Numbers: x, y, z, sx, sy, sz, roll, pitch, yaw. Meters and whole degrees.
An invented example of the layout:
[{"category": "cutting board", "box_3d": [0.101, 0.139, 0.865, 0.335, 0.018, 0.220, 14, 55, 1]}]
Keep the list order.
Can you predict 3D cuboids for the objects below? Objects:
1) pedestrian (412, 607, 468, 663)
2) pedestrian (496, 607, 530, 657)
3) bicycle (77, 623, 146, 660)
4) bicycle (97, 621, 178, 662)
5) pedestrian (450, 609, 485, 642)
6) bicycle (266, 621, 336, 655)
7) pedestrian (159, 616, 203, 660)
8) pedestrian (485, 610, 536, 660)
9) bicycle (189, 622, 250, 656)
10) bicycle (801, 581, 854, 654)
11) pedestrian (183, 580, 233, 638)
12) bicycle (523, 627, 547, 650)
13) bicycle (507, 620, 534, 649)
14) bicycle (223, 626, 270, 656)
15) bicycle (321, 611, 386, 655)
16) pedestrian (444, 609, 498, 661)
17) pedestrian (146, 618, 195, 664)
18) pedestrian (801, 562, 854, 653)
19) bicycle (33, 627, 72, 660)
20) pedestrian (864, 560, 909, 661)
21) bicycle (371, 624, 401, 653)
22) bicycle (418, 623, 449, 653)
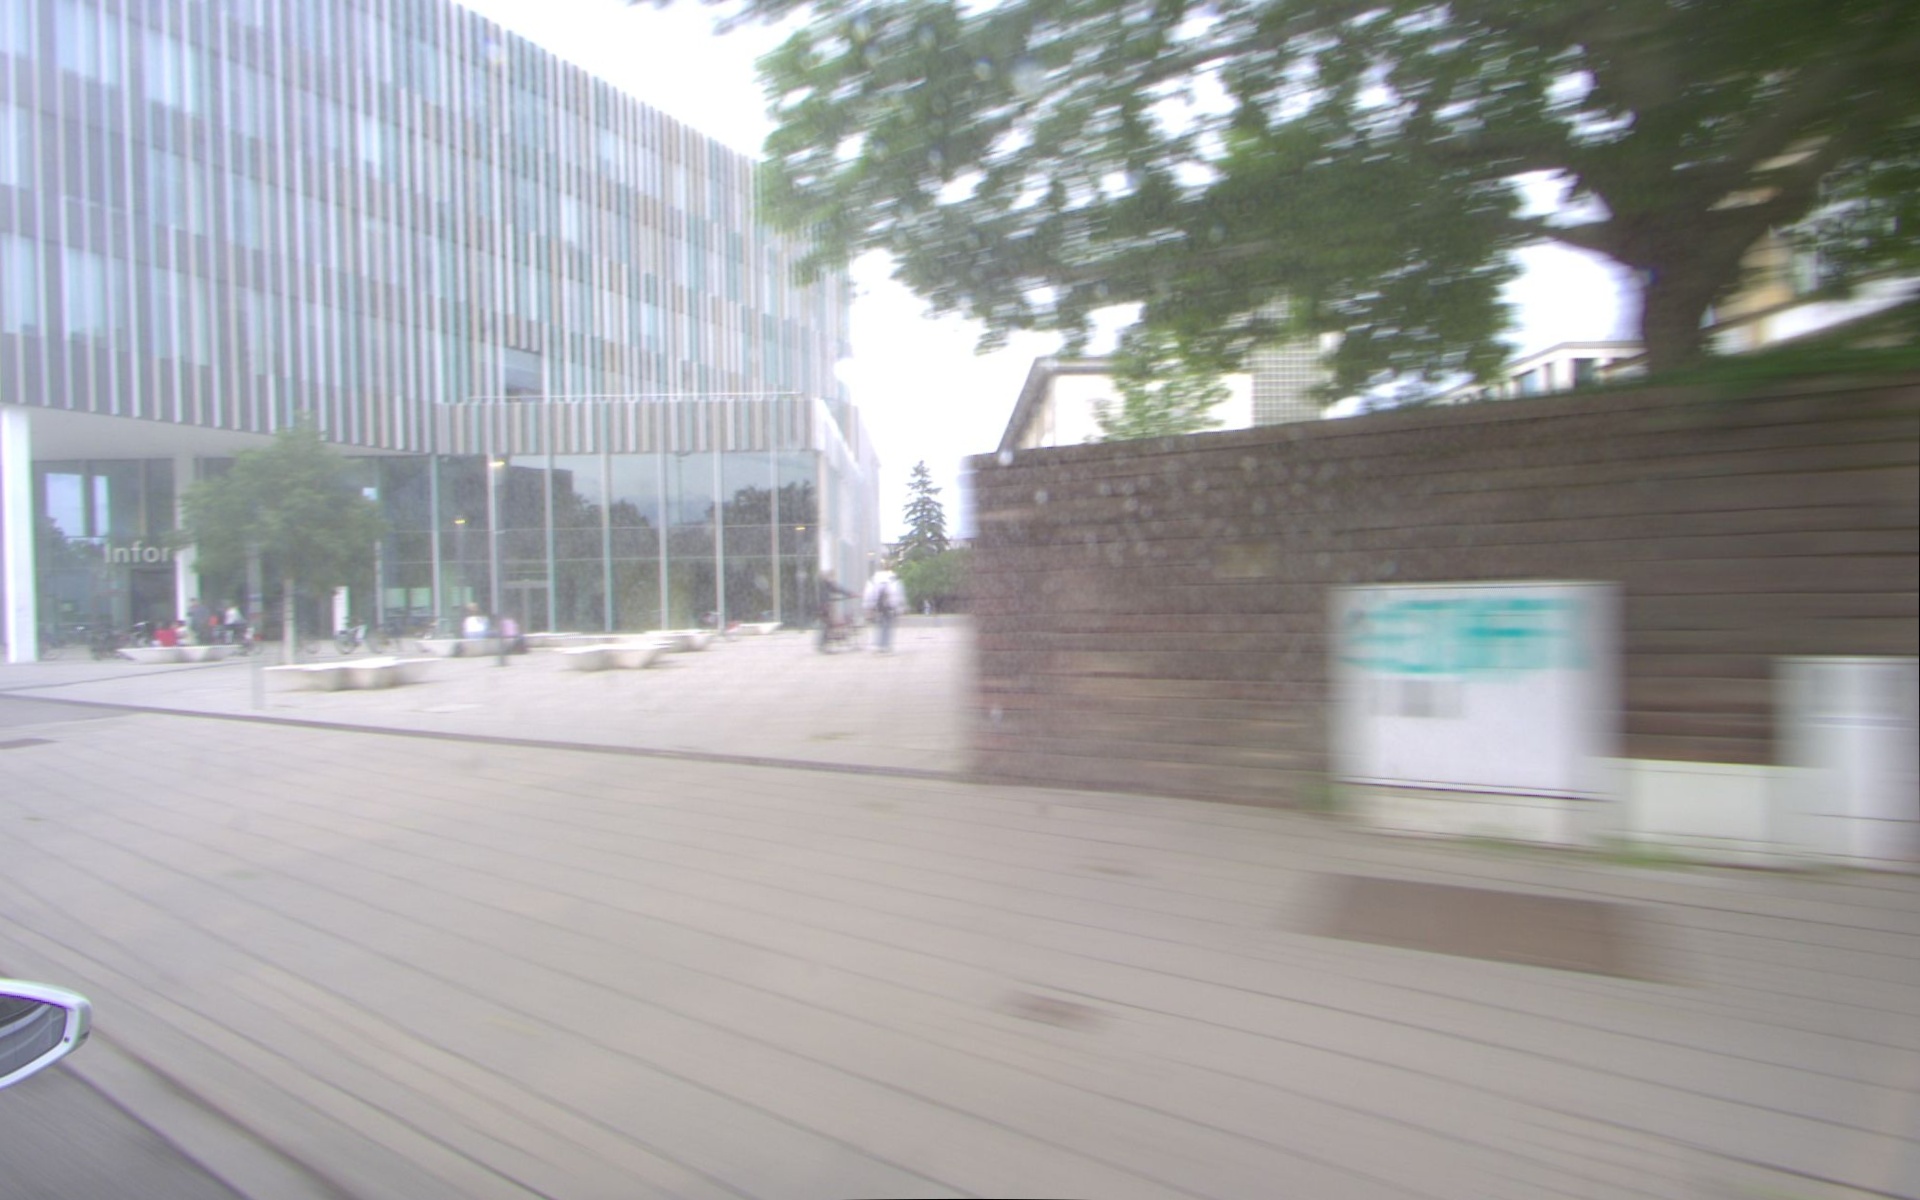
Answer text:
[{"category": "pedestrian", "box_3d": [-13.113, 0.879, 25.255, 0.864, 1.385, 0.910, 0, -1, 23]}, {"category": "pedestrian", "box_3d": [-11.795, 0.835, 26.408, 0.642, 1.295, 0.639, 1, -1, -44]}, {"category": "bicycle", "box_3d": [-28.024, 1.350, 33.119, 0.722, 1.130, 2.181, -1, 0, -10]}, {"category": "bicycle", "box_3d": [-26.719, 1.325, 32.601, 0.760, 1.204, 2.718, -1, 0, -9]}, {"category": "pedestrian", "box_3d": [-12.890, 0.675, 26.223, 0.629, 0.834, 0.727, -2, 1, -42]}, {"category": "bicycle", "box_3d": [-21.648, 1.241, 32.959, 0.766, 1.019, 2.191, -1, 0, 2]}, {"category": "pedestrian", "box_3d": [-22.046, 1.063, 28.345, 0.885, 1.209, 0.837, -2, 1, -44]}, {"category": "pedestrian", "box_3d": [-11.706, 0.903, 26.066, 0.867, 1.273, 0.906, -1, -1, 35]}, {"category": "bicycle", "box_3d": [-24.285, 1.272, 32.888, 0.760, 1.015, 1.958, -1, 0, -9]}, {"category": "bicycle", "box_3d": [-2.815, 0.361, 21.474, 0.592, 1.490, 1.646, -1, 1, 12]}, {"category": "pedestrian", "box_3d": [-27.512, 0.345, 36.651, 1.121, 2.089, 1.178, -1, -1, 36]}, {"category": "bicycle", "box_3d": [-14.407, 1.290, 33.960, 0.481, 0.701, 1.185, -1, 2, -12]}, {"category": "bicycle", "box_3d": [-14.818, 1.153, 33.775, 0.499, 0.911, 1.549, -1, 0, -12]}, {"category": "bicycle", "box_3d": [-23.506, 1.333, 33.014, 0.660, 0.911, 1.842, -1, 0, -16]}, {"category": "bicycle", "box_3d": [-19.990, 1.054, 33.060, 0.633, 1.324, 2.006, 0, 2, 11]}, {"category": "pedestrian", "box_3d": [-12.217, 0.872, 25.022, 0.867, 1.273, 0.906, -1, -1, 35]}, {"category": "pedestrian", "box_3d": [-21.785, 1.120, 27.648, 0.831, 1.222, 0.891, -1, 1, -24]}, {"category": "pedestrian", "box_3d": [-2.829, 0.158, 21.451, 0.873, 1.911, 0.737, -1, 1, 14]}, {"category": "bicycle", "box_3d": [-30.314, 1.443, 33.446, 1.817, 1.075, 0.636, -1, -1, 37]}, {"category": "pedestrian", "box_3d": [-1.458, 0.210, 19.969, 0.674, 1.985, 0.654, -1, 1, 14]}, {"category": "bicycle", "box_3d": [-18.939, 1.267, 33.067, 0.387, 0.911, 1.471, -1, 0, -12]}, {"category": "bicycle", "box_3d": [-17.227, 1.241, 32.777, 0.532, 0.911, 1.355, -1, 0, -12]}]
